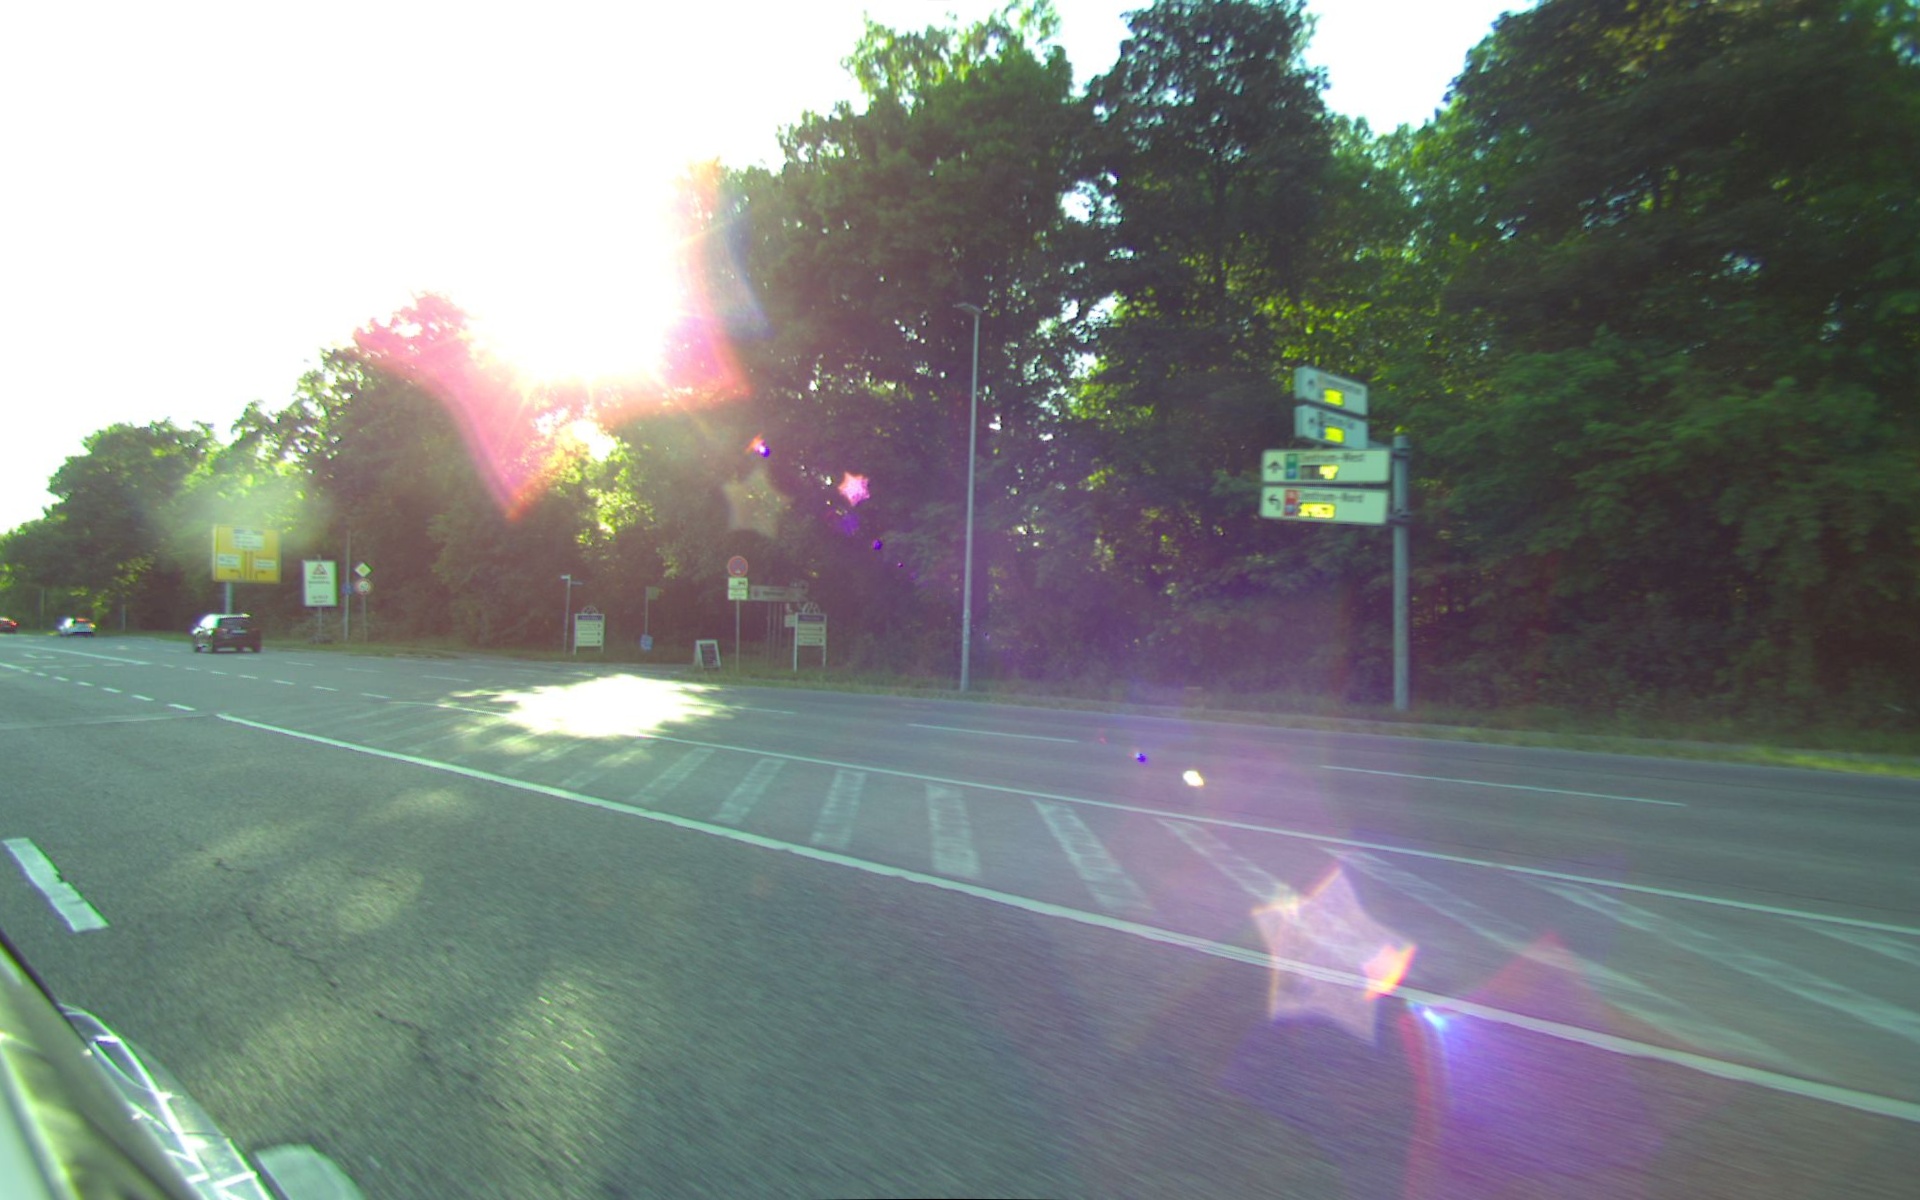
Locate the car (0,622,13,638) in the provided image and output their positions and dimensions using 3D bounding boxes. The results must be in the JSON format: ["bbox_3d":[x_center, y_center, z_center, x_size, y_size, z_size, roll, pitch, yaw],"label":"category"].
[{"bbox_3d":[-94.615,2.932,99.595,4.256,1.556,1.805,-1,-2,43],"label":"car"}]

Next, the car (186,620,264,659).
[{"bbox_3d":[-31.686,1.671,43.590,4.349,1.601,1.806,-1,-2,41],"label":"car"}]

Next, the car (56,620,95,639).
[{"bbox_3d":[-70.893,2.361,81.059,4.304,1.515,1.805,-1,-2,41],"label":"car"}]
